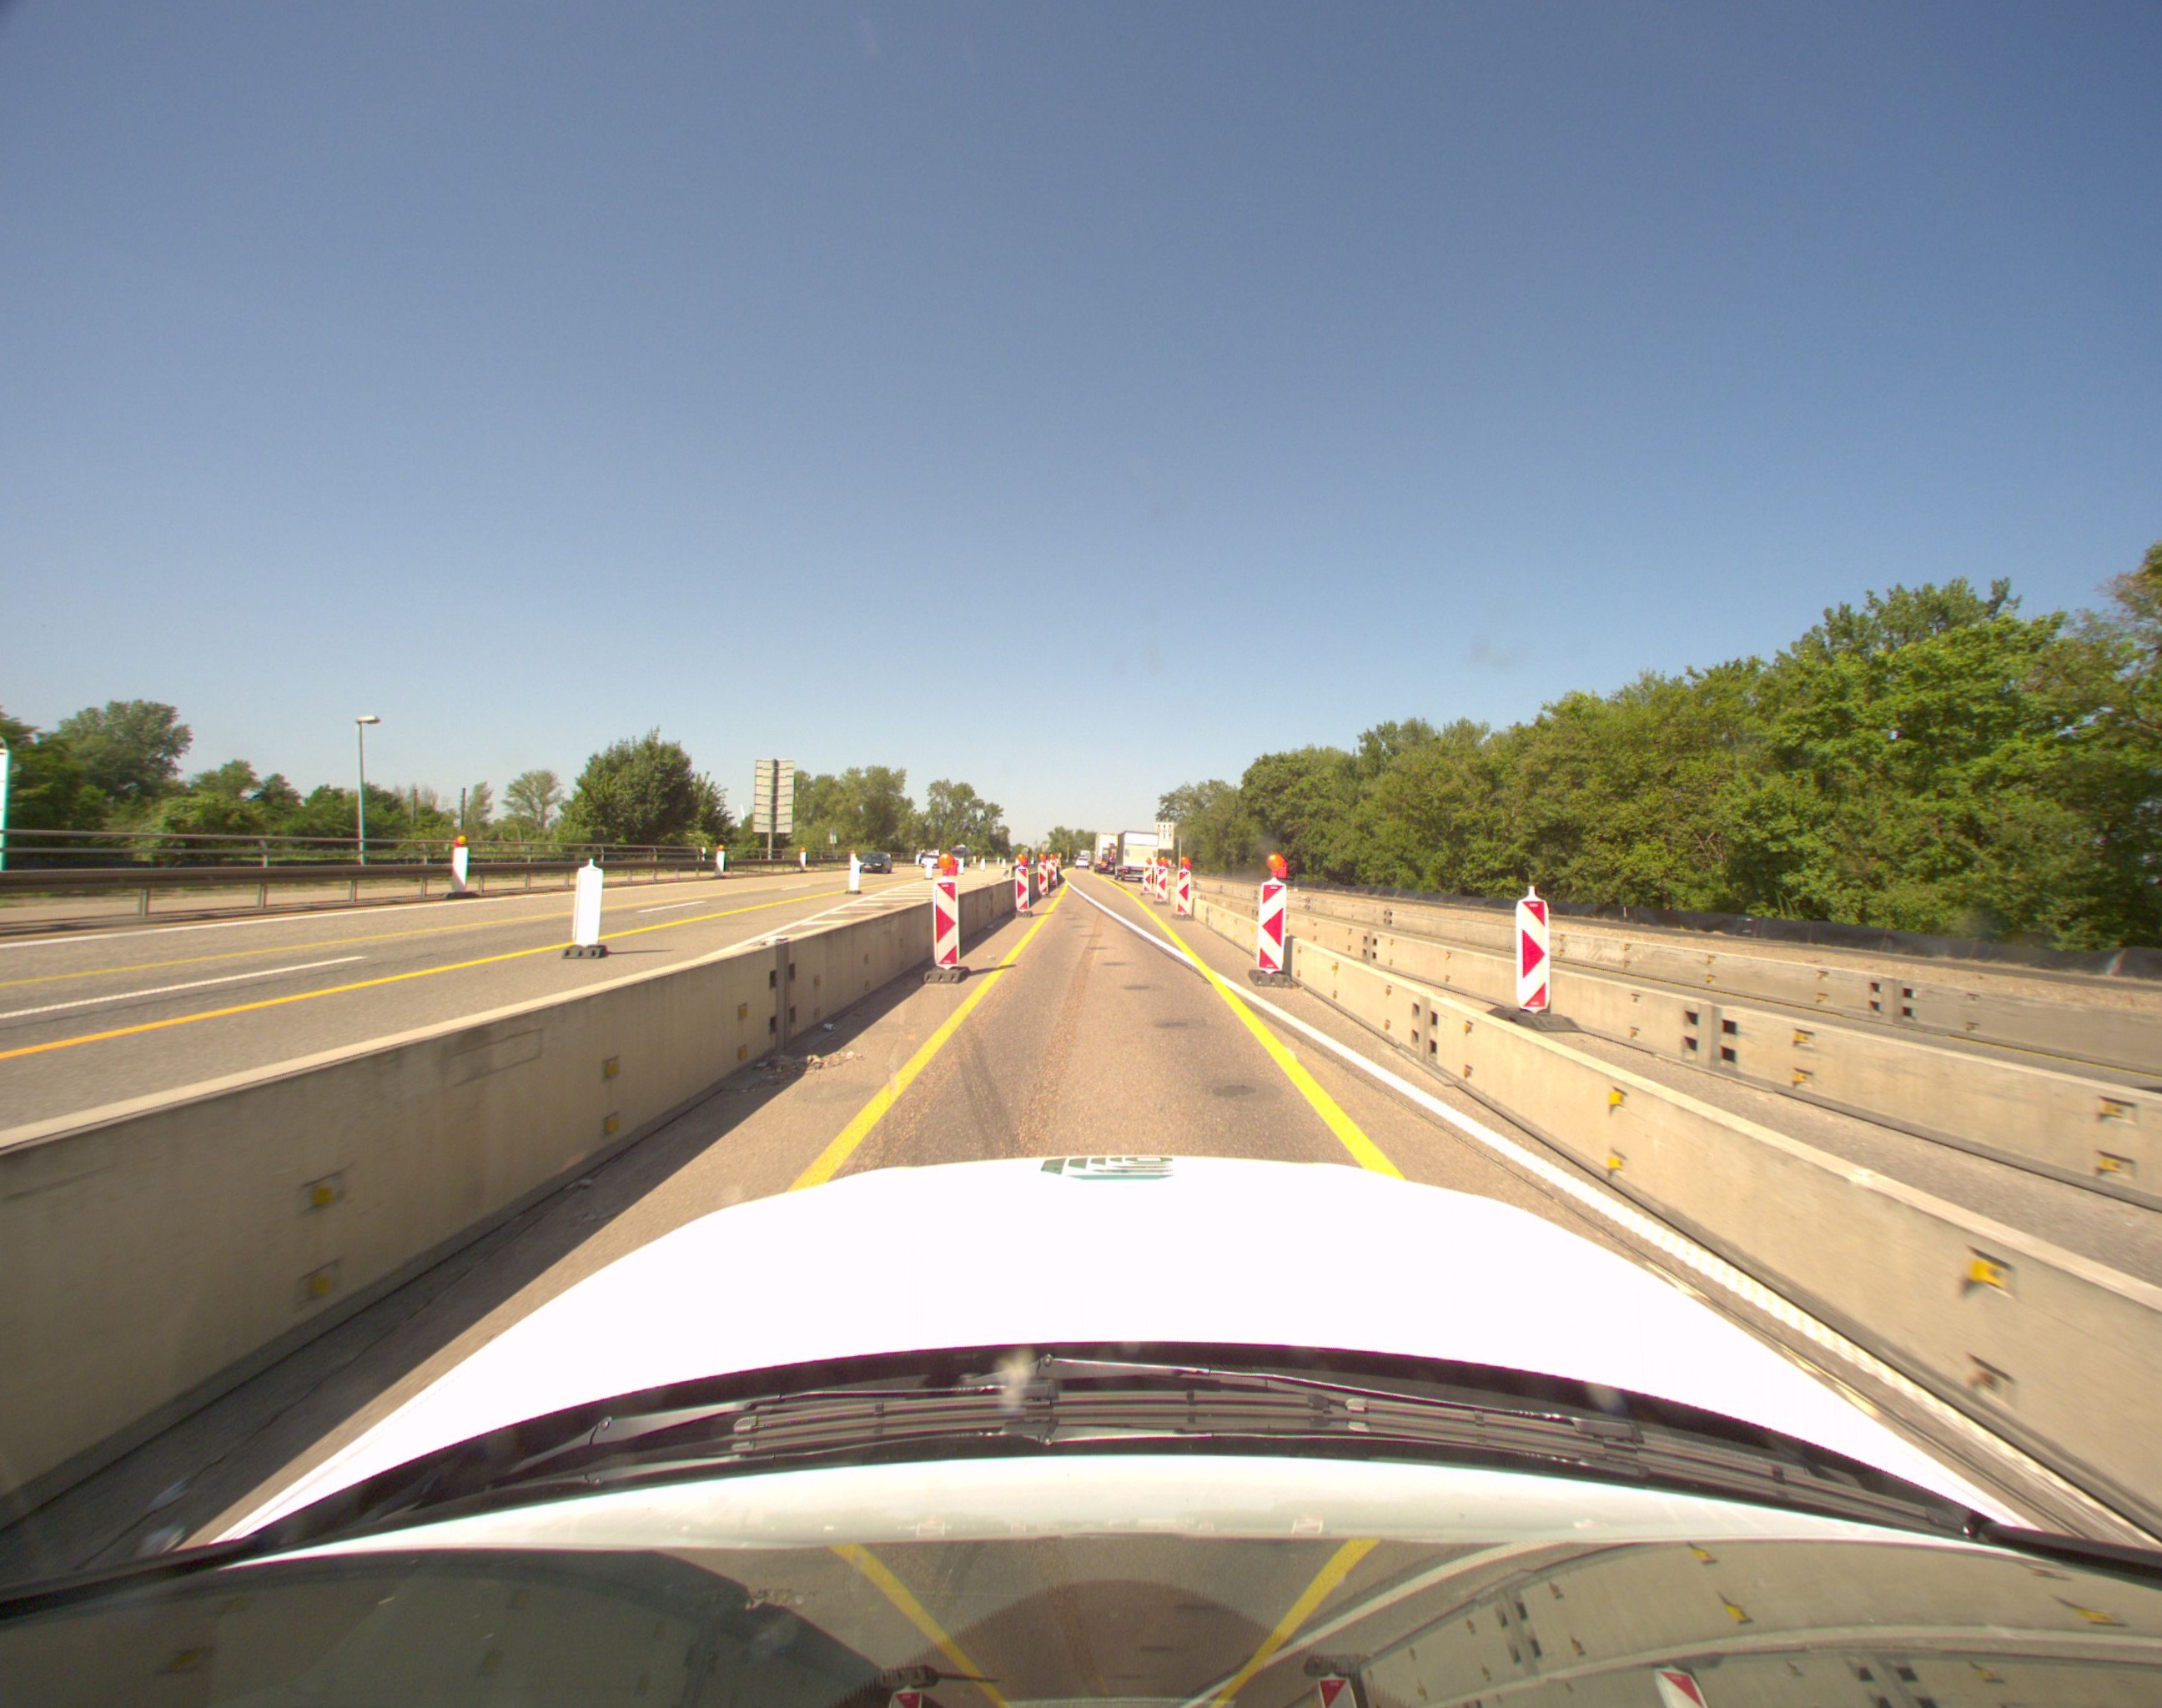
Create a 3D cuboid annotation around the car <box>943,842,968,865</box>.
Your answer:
[{"bbox_3d":[-15.394,-0.057,99.997,2.139,2.660,5.546,2,0,0],"label":"car"}]

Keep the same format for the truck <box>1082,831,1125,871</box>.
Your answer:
[{"bbox_3d":[2.191,-0.294,82.085,3.384,3.774,7.217,1,0,-6],"label":"truck"}]

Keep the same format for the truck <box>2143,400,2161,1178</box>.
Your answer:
[{"bbox_3d":[7.374,-0.338,0.889,2.690,4.102,7.286,1,0,-6],"label":"truck"}]

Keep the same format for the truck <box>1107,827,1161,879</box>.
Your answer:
[{"bbox_3d":[3.623,-0.075,57.354,2.631,3.427,7.218,1,0,-6],"label":"truck"}]

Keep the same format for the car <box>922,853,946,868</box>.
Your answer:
[{"bbox_3d":[-14.918,0.606,82.674,1.715,1.397,4.515,2,0,-3],"label":"car"}]

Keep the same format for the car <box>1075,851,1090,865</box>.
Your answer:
[{"bbox_3d":[0.257,0.540,112.792,1.813,1.776,3.995,1,0,-4],"label":"car"}]

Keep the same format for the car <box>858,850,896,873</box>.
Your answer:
[{"bbox_3d":[-14.107,0.487,56.596,1.734,1.476,4.639,1,0,-4],"label":"car"}]
